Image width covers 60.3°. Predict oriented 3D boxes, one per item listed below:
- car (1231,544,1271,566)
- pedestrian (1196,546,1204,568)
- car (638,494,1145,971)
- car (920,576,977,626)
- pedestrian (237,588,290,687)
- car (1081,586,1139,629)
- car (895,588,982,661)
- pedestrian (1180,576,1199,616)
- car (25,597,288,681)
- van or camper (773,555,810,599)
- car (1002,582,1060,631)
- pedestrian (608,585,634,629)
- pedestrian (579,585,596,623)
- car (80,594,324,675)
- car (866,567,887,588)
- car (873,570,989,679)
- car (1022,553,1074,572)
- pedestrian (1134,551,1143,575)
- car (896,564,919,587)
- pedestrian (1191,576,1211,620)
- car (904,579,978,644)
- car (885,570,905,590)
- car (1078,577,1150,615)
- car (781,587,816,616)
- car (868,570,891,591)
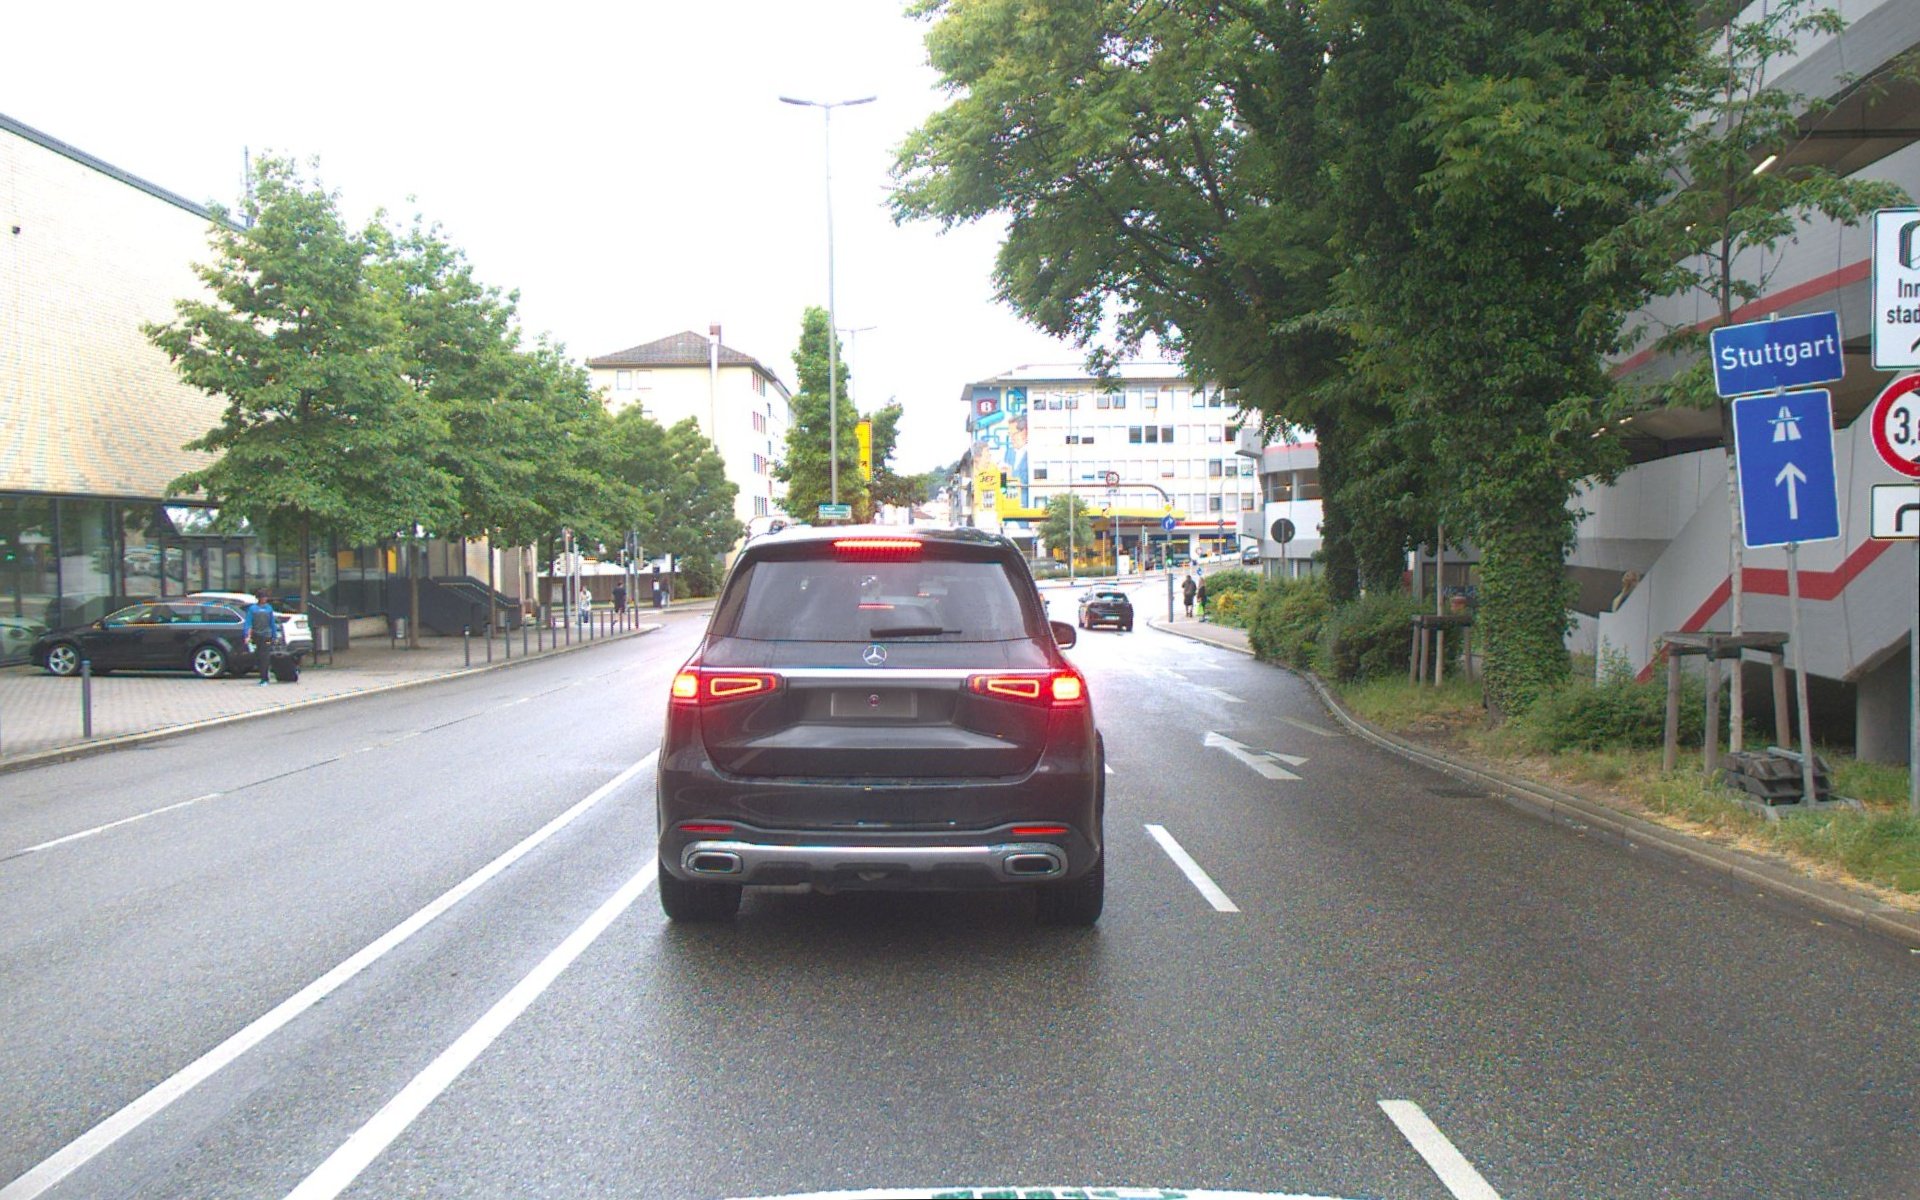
[{"bbox_3d":[24.427,-3.812,138.676,1.958,1.735,3.990,-1,1,33],"label":"car"},{"bbox_3d":[19.873,-3.573,136.997,0.515,1.757,0.689,0,1,26],"label":"pedestrian"},{"bbox_3d":[-0.291,0.528,8.469,1.953,1.832,3.999,1,0,-1],"label":"car"},{"bbox_3d":[-0.400,0.035,56.887,1.869,1.614,3.999,1,0,-1],"label":"car"},{"bbox_3d":[-12.529,0.670,29.764,0.621,1.744,0.705,1,-1,2],"label":"pedestrian"},{"bbox_3d":[5.455,0.280,60.573,1.905,1.512,4.001,1,0,2],"label":"car"},{"bbox_3d":[-0.491,0.536,37.698,1.869,1.527,3.999,1,0,-1],"label":"car"},{"bbox_3d":[9.966,-0.177,71.732,0.703,1.720,0.455,1,-1,-7],"label":"pedestrian"},{"bbox_3d":[-15.449,0.742,32.015,4.097,1.521,1.997,1,0,-8],"label":"car"},{"bbox_3d":[-10.610,-1.403,104.399,2.061,2.627,5.903,-2,0,-4],"label":"van or camper"},{"bbox_3d":[2.420,0.188,57.007,1.759,1.552,4.055,1,1,-1],"label":"car"},{"bbox_3d":[-13.501,0.271,65.852,0.931,1.734,0.709,1,-1,-18],"label":"pedestrian"},{"bbox_3d":[-16.788,0.176,74.605,0.630,1.695,1.017,1,0,-7],"label":"pedestrian"},{"bbox_3d":[-15.651,0.702,34.315,4.090,1.574,2.000,1,0,0],"label":"car"},{"bbox_3d":[-8.444,-2.295,167.284,1.953,2.049,4.000,1,0,0],"label":"car"},{"bbox_3d":[-0.520,0.425,30.124,1.953,1.832,3.999,1,0,-1],"label":"car"},{"bbox_3d":[6.852,-2.902,128.665,1.724,1.400,3.935,-3,2,-44],"label":"car"},{"bbox_3d":[12.999,-2.726,120.515,0.560,1.727,0.631,1,-1,0],"label":"pedestrian"},{"bbox_3d":[-4.908,-2.287,154.216,1.953,2.049,4.000,1,0,0],"label":"car"},{"bbox_3d":[9.546,-0.077,65.571,0.634,1.740,0.470,0,-1,35],"label":"pedestrian"},{"bbox_3d":[-0.524,0.304,44.254,1.869,1.614,3.999,1,0,-1],"label":"car"},{"bbox_3d":[-7.138,-2.213,182.186,1.953,2.049,4.000,1,0,0],"label":"car"},{"bbox_3d":[6.725,-0.178,71.788,1.720,1.576,3.994,1,0,28],"label":"car"},{"bbox_3d":[-9.050,0.086,92.738,1.706,1.496,3.880,-2,0,-3],"label":"car"},{"bbox_3d":[-6.875,-1.637,140.343,1.868,1.733,3.997,1,0,-4],"label":"car"}]
